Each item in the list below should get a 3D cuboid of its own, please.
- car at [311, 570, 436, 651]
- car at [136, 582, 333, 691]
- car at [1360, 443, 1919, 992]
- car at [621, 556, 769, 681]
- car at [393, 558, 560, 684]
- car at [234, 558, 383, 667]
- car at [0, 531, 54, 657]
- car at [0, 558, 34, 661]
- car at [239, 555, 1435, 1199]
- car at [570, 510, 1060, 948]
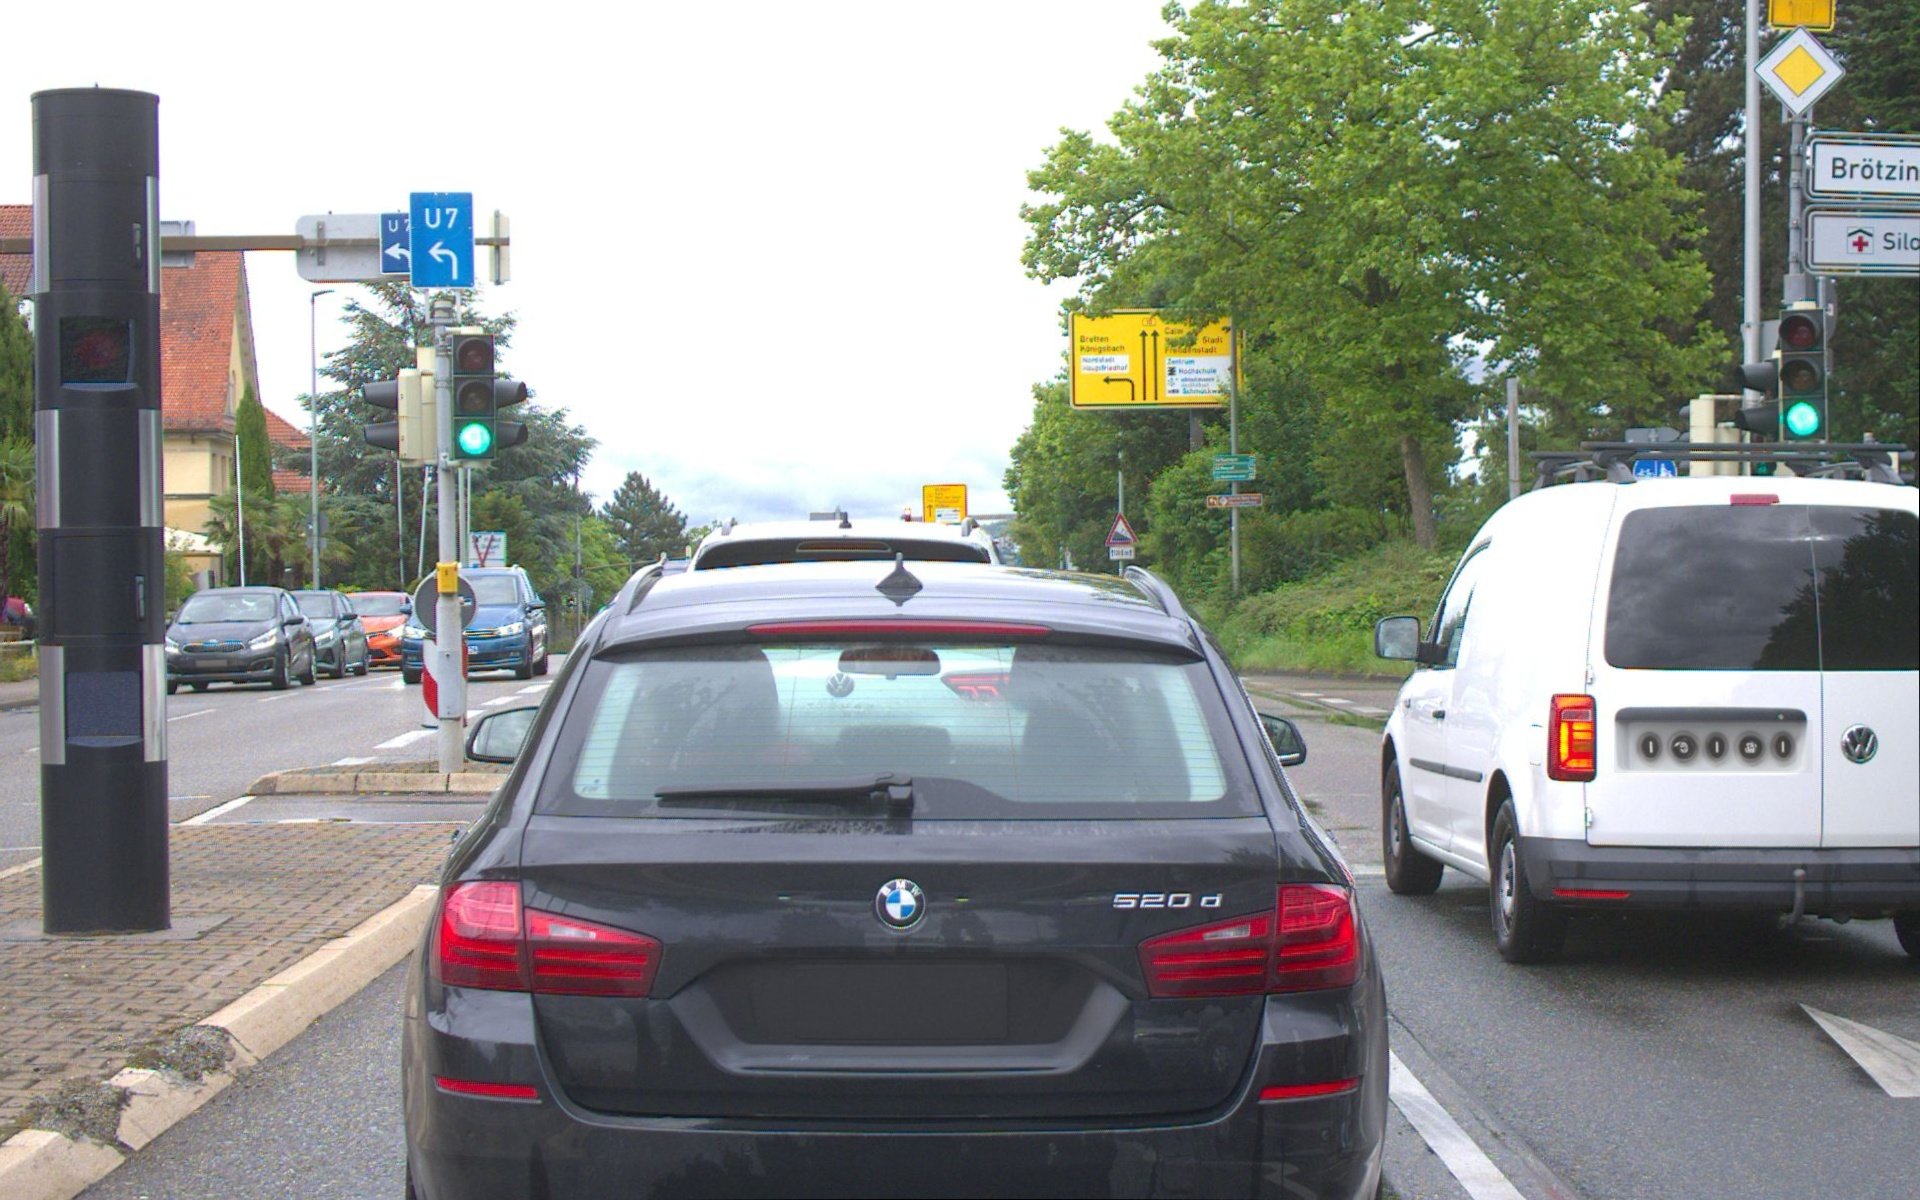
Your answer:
[{"bbox_3d":[-10.490,0.169,61.703,1.622,1.327,3.947,-2,1,-1],"label":"car"},{"bbox_3d":[-10.191,0.482,48.566,1.917,1.375,4.125,-2,1,-1],"label":"car"},{"bbox_3d":[2.746,0.363,13.651,1.764,1.871,3.806,0,1,-1],"label":"car"},{"bbox_3d":[-3.669,0.223,48.222,1.839,1.644,4.298,-1,1,-2],"label":"car"},{"bbox_3d":[-6.879,0.263,49.299,1.839,1.644,4.298,-2,1,-2],"label":"car"},{"bbox_3d":[-10.482,0.166,55.563,1.676,1.612,4.000,-2,1,-1],"label":"car"},{"bbox_3d":[-17.176,-0.019,55.717,4.385,2.007,2.000,-3,1,-29],"label":"car"},{"bbox_3d":[-18.490,0.277,58.292,4.996,1.697,2.000,-3,-2,-28],"label":"car"},{"bbox_3d":[-0.213,0.644,7.480,1.899,1.436,4.000,0,1,0],"label":"car"},{"bbox_3d":[-0.572,0.452,15.184,1.868,1.668,4.000,0,1,0],"label":"car"}]
